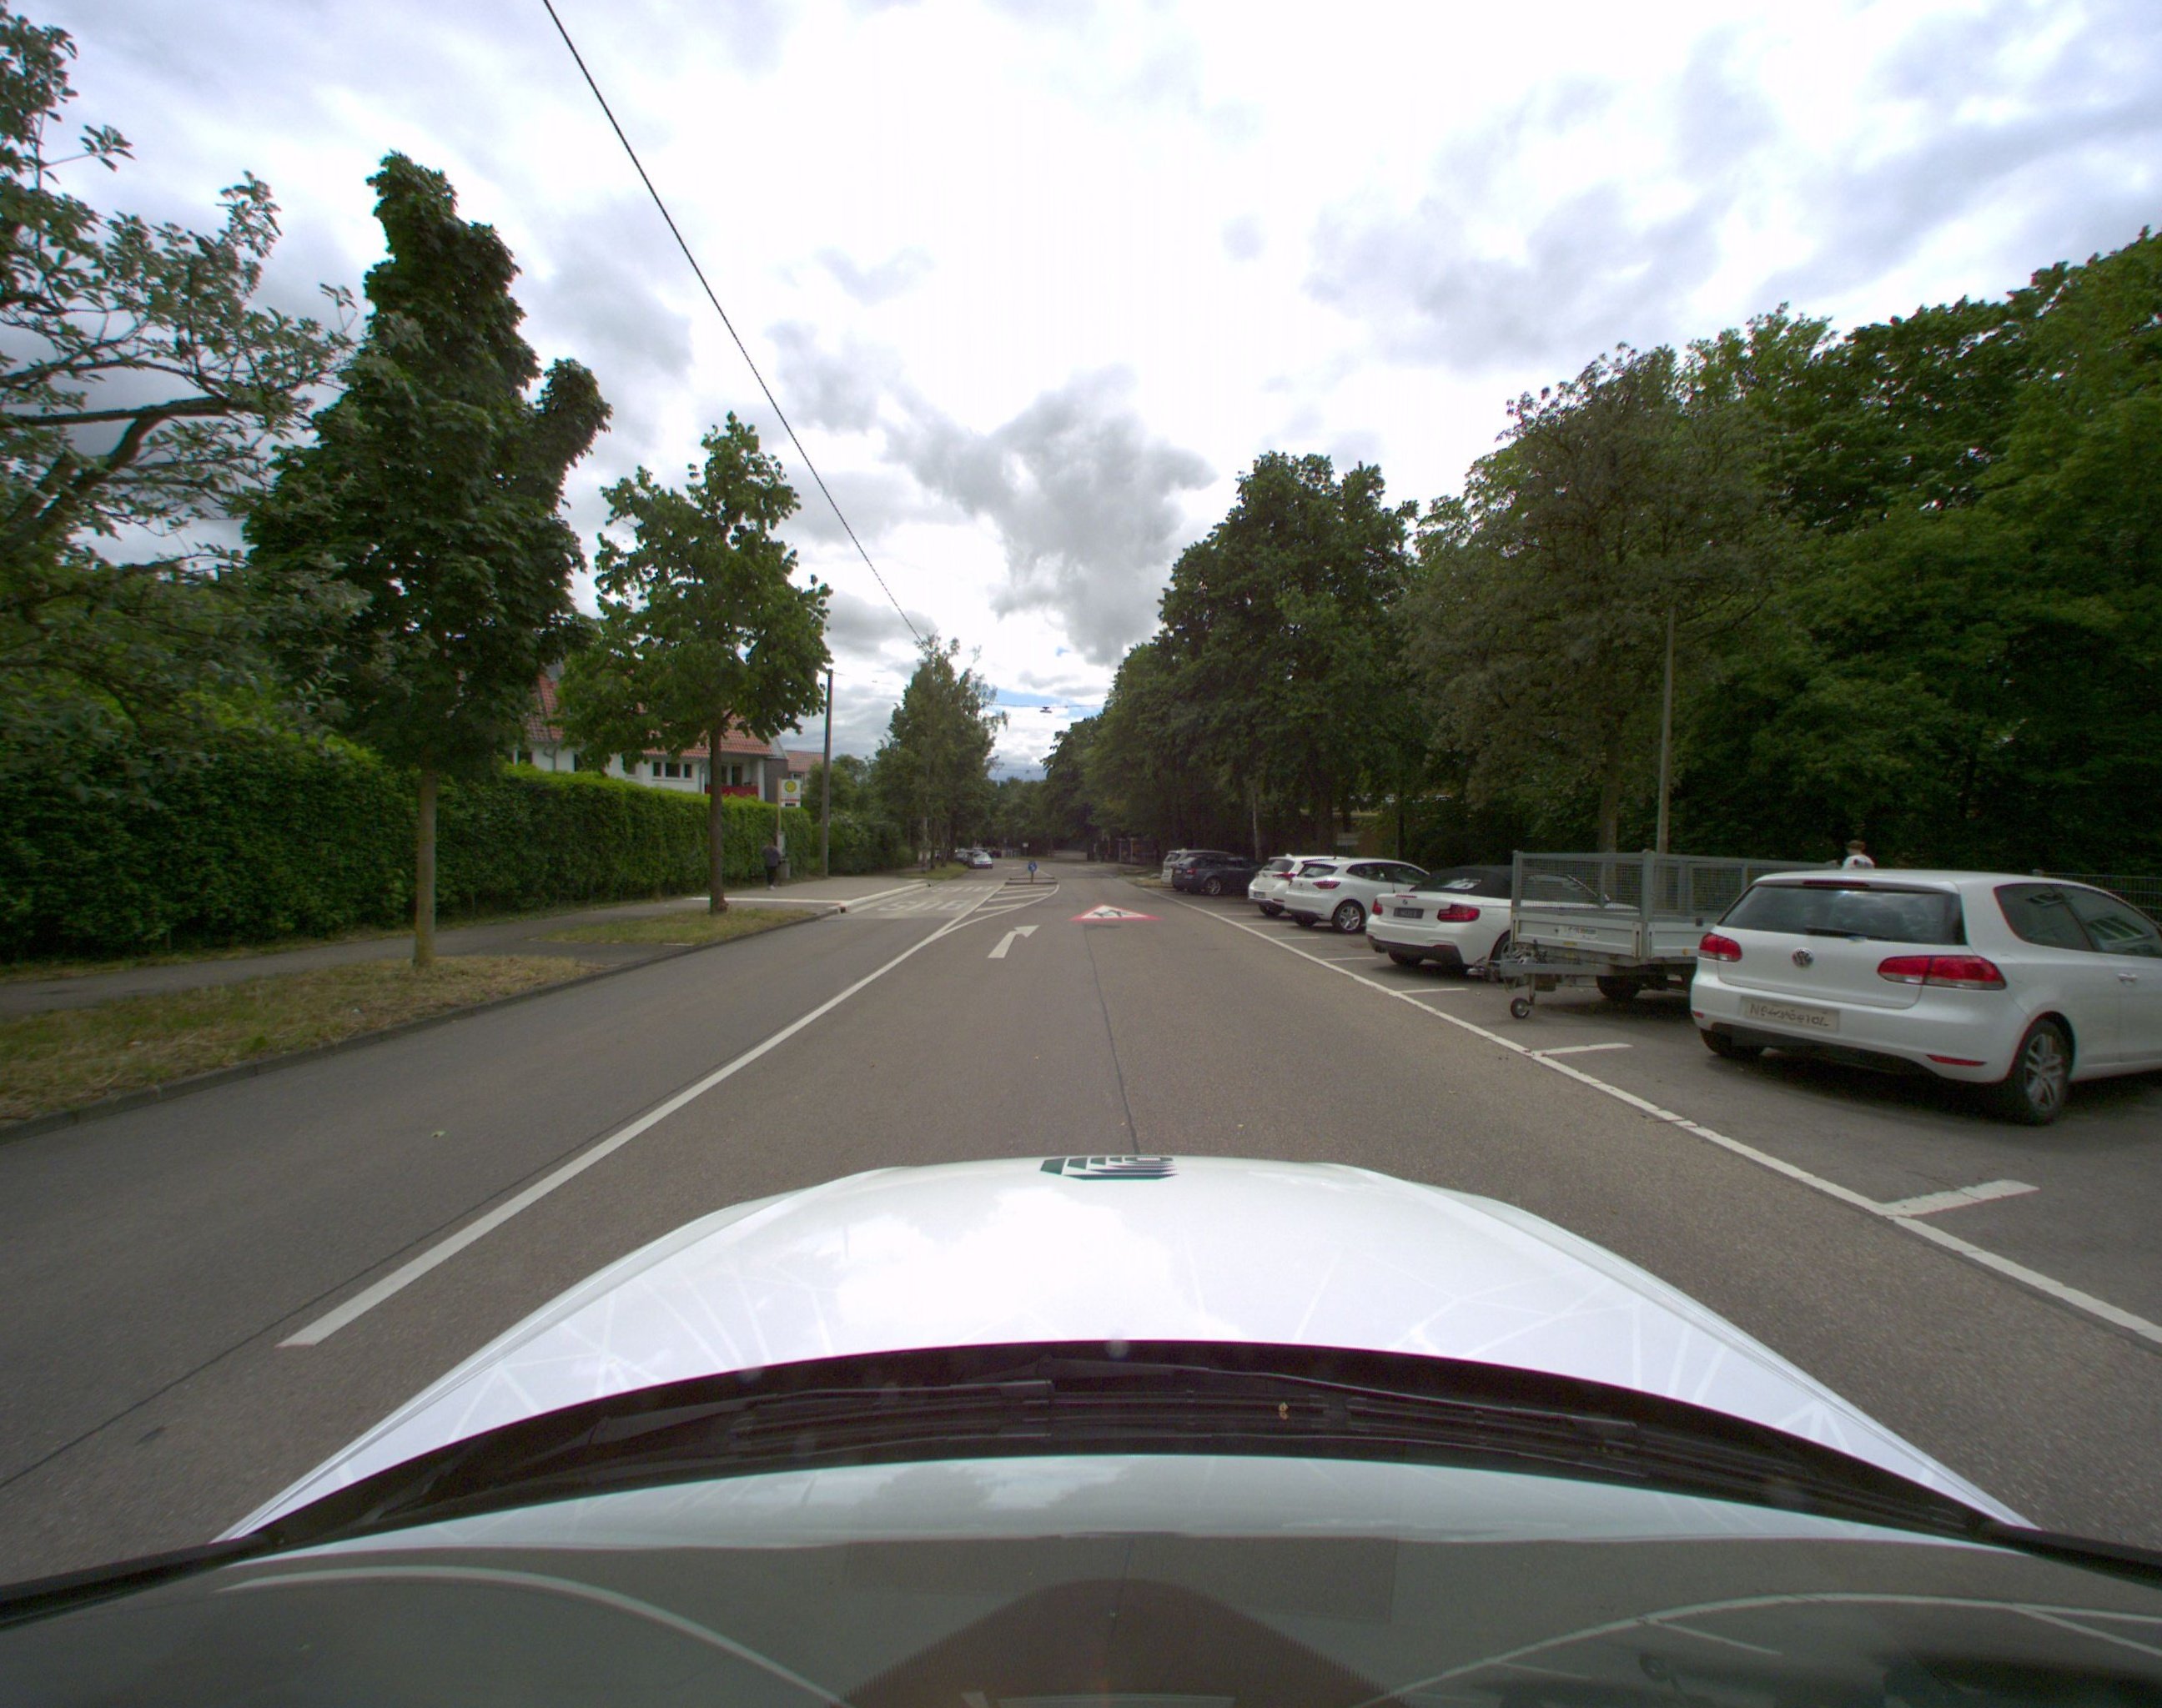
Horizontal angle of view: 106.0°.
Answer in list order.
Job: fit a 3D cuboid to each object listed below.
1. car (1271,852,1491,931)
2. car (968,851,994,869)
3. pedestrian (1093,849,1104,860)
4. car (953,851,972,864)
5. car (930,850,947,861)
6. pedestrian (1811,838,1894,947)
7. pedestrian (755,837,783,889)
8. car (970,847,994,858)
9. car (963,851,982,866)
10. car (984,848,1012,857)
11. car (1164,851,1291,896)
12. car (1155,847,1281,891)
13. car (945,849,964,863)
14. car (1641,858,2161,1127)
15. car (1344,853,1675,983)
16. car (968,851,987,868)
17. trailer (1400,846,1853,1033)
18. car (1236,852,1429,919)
[{"bbox_3d":[6.109,0.735,16.625,4.000,1.464,1.784,1,0,-20],"label":"car"},{"bbox_3d":[-8.821,0.510,71.726,1.738,1.416,4.450,-1,0,-14],"label":"car"},{"bbox_3d":[1.879,0.048,86.781,1.065,1.182,0.577,-1,0,-14],"label":"pedestrian"},{"bbox_3d":[-14.629,0.439,100.435,1.869,1.538,4.207,-1,0,-14],"label":"car"},{"bbox_3d":[-22.123,0.243,126.049,1.811,1.563,4.237,-4,1,-20],"label":"car"},{"bbox_3d":[12.077,0.583,12.773,0.686,1.644,0.782,0,0,20],"label":"pedestrian"},{"bbox_3d":[-10.412,0.294,27.200,0.691,1.710,0.776,0,0,-8],"label":"pedestrian"},{"bbox_3d":[-17.489,-0.243,143.827,3.851,1.720,1.856,3,-2,-42],"label":"car"},{"bbox_3d":[-11.956,0.441,89.478,1.736,1.578,4.125,-1,0,-11],"label":"car"},{"bbox_3d":[-13.660,-0.243,133.810,4.021,1.414,2.033,3,0,-42],"label":"car"},{"bbox_3d":[5.227,0.687,29.218,4.137,1.464,1.790,1,0,-13],"label":"car"},{"bbox_3d":[5.343,0.583,31.942,4.471,1.585,1.899,1,0,-12],"label":"car"},{"bbox_3d":[-17.119,0.253,110.192,1.862,1.909,5.055,-1,0,-16],"label":"car"},{"bbox_3d":[6.426,0.813,6.026,4.000,1.464,1.779,1,0,-20],"label":"car"},{"bbox_3d":[5.732,0.770,10.907,4.005,1.464,1.836,1,0,-24],"label":"car"},{"bbox_3d":[-9.893,0.490,77.858,1.734,1.538,4.178,-1,0,-8],"label":"car"},{"bbox_3d":[5.403,0.712,8.140,3.997,1.552,1.649,0,0,-18],"label":"trailer"},{"bbox_3d":[5.909,0.728,19.249,3.996,1.464,1.855,1,0,-17],"label":"car"}]
